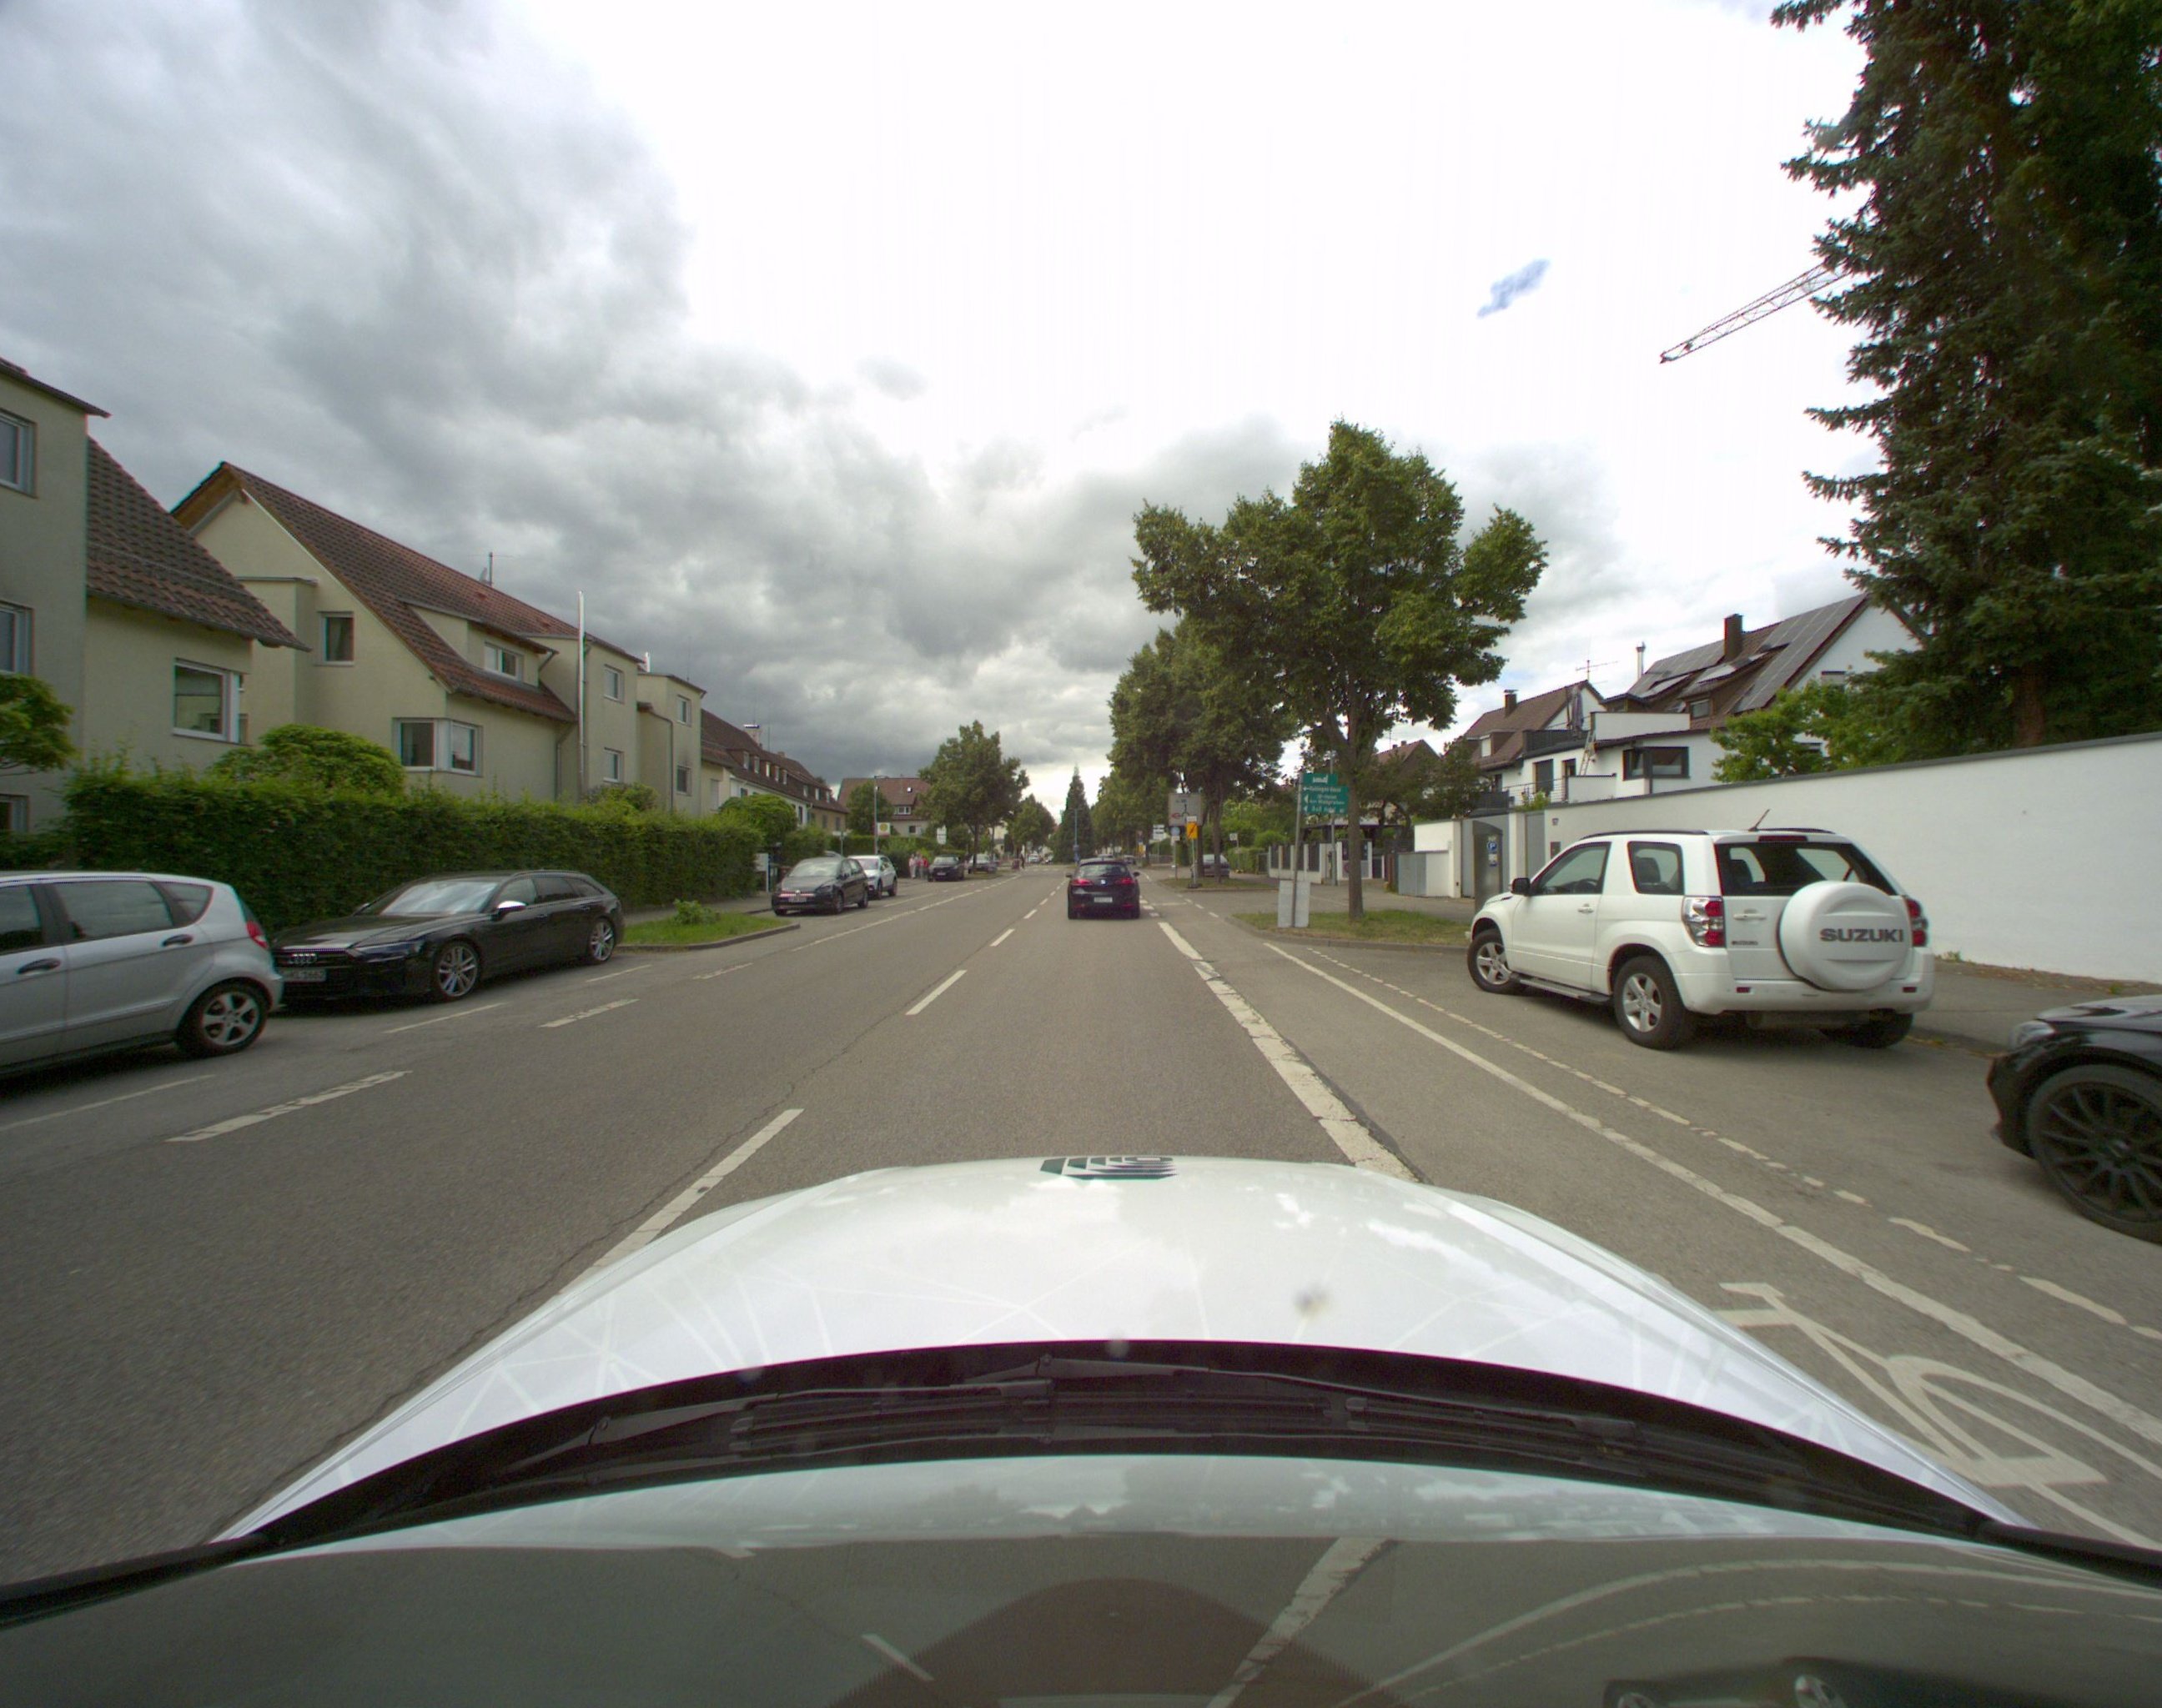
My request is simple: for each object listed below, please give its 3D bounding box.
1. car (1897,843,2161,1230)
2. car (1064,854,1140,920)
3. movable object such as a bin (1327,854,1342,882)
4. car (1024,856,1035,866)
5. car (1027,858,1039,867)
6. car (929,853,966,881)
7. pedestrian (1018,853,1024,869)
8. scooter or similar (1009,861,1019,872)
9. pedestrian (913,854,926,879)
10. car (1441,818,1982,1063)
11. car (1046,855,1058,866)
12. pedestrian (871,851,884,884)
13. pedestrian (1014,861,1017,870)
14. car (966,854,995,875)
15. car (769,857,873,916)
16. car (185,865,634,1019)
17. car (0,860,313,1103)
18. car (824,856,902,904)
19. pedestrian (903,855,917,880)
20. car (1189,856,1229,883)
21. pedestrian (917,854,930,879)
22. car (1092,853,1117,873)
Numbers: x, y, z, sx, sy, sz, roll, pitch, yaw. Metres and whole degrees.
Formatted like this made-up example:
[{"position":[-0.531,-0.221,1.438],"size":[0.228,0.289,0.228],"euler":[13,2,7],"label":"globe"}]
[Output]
[{"position":[4.813,0.666,1.667],"size":[1.855,1.417,4.606],"euler":[-1,0,3],"label":"car"},{"position":[0.608,0.766,20.720],"size":[1.725,1.486,4.004],"euler":[-1,0,3],"label":"car"},{"position":[10.197,0.542,32.760],"size":[0.434,1.109,0.455],"euler":[-1,-1,2],"label":"movable object such as a bin"},{"position":[-10.322,1.464,164.462],"size":[2.024,1.970,3.997],"euler":[-1,0,-2],"label":"car"},{"position":[-8.576,1.477,146.356],"size":[1.792,1.601,3.999],"euler":[-1,0,0],"label":"car"},{"position":[-8.535,0.831,52.381],"size":[1.719,1.725,4.562],"euler":[0,0,-1],"label":"car"},{"position":[-6.126,0.716,83.417],"size":[0.515,1.669,0.480],"euler":[-1,-1,-17],"label":"pedestrian"},{"position":[-6.831,1.240,83.114],"size":[0.969,1.095,0.404],"euler":[2,-1,-19],"label":"scooter or similar"},{"position":[-10.876,0.818,54.869],"size":[0.786,1.663,0.590],"euler":[-1,-1,-7],"label":"pedestrian"},{"position":[5.198,0.610,7.605],"size":[1.894,1.642,4.117],"euler":[-1,-1,1],"label":"car"},{"position":[-4.479,1.018,126.452],"size":[1.563,1.634,3.622],"euler":[-1,0,0],"label":"car"},{"position":[-11.535,0.767,46.177],"size":[0.502,1.806,0.671],"euler":[-1,-1,0],"label":"pedestrian"},{"position":[-6.626,1.123,82.694],"size":[0.239,0.894,0.257],"euler":[-2,0,-25],"label":"pedestrian"},{"position":[-8.476,0.863,68.872],"size":[1.854,1.653,4.295],"euler":[0,0,1],"label":"car"},{"position":[-7.408,0.865,23.658],"size":[1.672,1.552,4.271],"euler":[-1,0,-1],"label":"car"},{"position":[-8.255,0.940,10.836],"size":[1.988,1.485,4.887],"euler":[-2,0,-2],"label":"car"},{"position":[-8.037,0.866,5.624],"size":[1.712,1.613,3.910],"euler":[-1,0,0],"label":"car"},{"position":[-8.186,0.934,30.963],"size":[1.816,1.634,4.583],"euler":[-1,0,-2],"label":"car"},{"position":[-11.219,0.880,53.491],"size":[0.786,1.663,0.879],"euler":[-1,-1,-6],"label":"pedestrian"},{"position":[6.937,0.851,44.463],"size":[1.606,1.377,4.387],"euler":[-1,-2,1],"label":"car"},{"position":[-10.412,0.808,53.961],"size":[0.786,1.663,0.753],"euler":[0,-1,-6],"label":"pedestrian"},{"position":[2.004,0.717,68.425],"size":[1.986,1.613,4.002],"euler":[0,0,2],"label":"car"}]
